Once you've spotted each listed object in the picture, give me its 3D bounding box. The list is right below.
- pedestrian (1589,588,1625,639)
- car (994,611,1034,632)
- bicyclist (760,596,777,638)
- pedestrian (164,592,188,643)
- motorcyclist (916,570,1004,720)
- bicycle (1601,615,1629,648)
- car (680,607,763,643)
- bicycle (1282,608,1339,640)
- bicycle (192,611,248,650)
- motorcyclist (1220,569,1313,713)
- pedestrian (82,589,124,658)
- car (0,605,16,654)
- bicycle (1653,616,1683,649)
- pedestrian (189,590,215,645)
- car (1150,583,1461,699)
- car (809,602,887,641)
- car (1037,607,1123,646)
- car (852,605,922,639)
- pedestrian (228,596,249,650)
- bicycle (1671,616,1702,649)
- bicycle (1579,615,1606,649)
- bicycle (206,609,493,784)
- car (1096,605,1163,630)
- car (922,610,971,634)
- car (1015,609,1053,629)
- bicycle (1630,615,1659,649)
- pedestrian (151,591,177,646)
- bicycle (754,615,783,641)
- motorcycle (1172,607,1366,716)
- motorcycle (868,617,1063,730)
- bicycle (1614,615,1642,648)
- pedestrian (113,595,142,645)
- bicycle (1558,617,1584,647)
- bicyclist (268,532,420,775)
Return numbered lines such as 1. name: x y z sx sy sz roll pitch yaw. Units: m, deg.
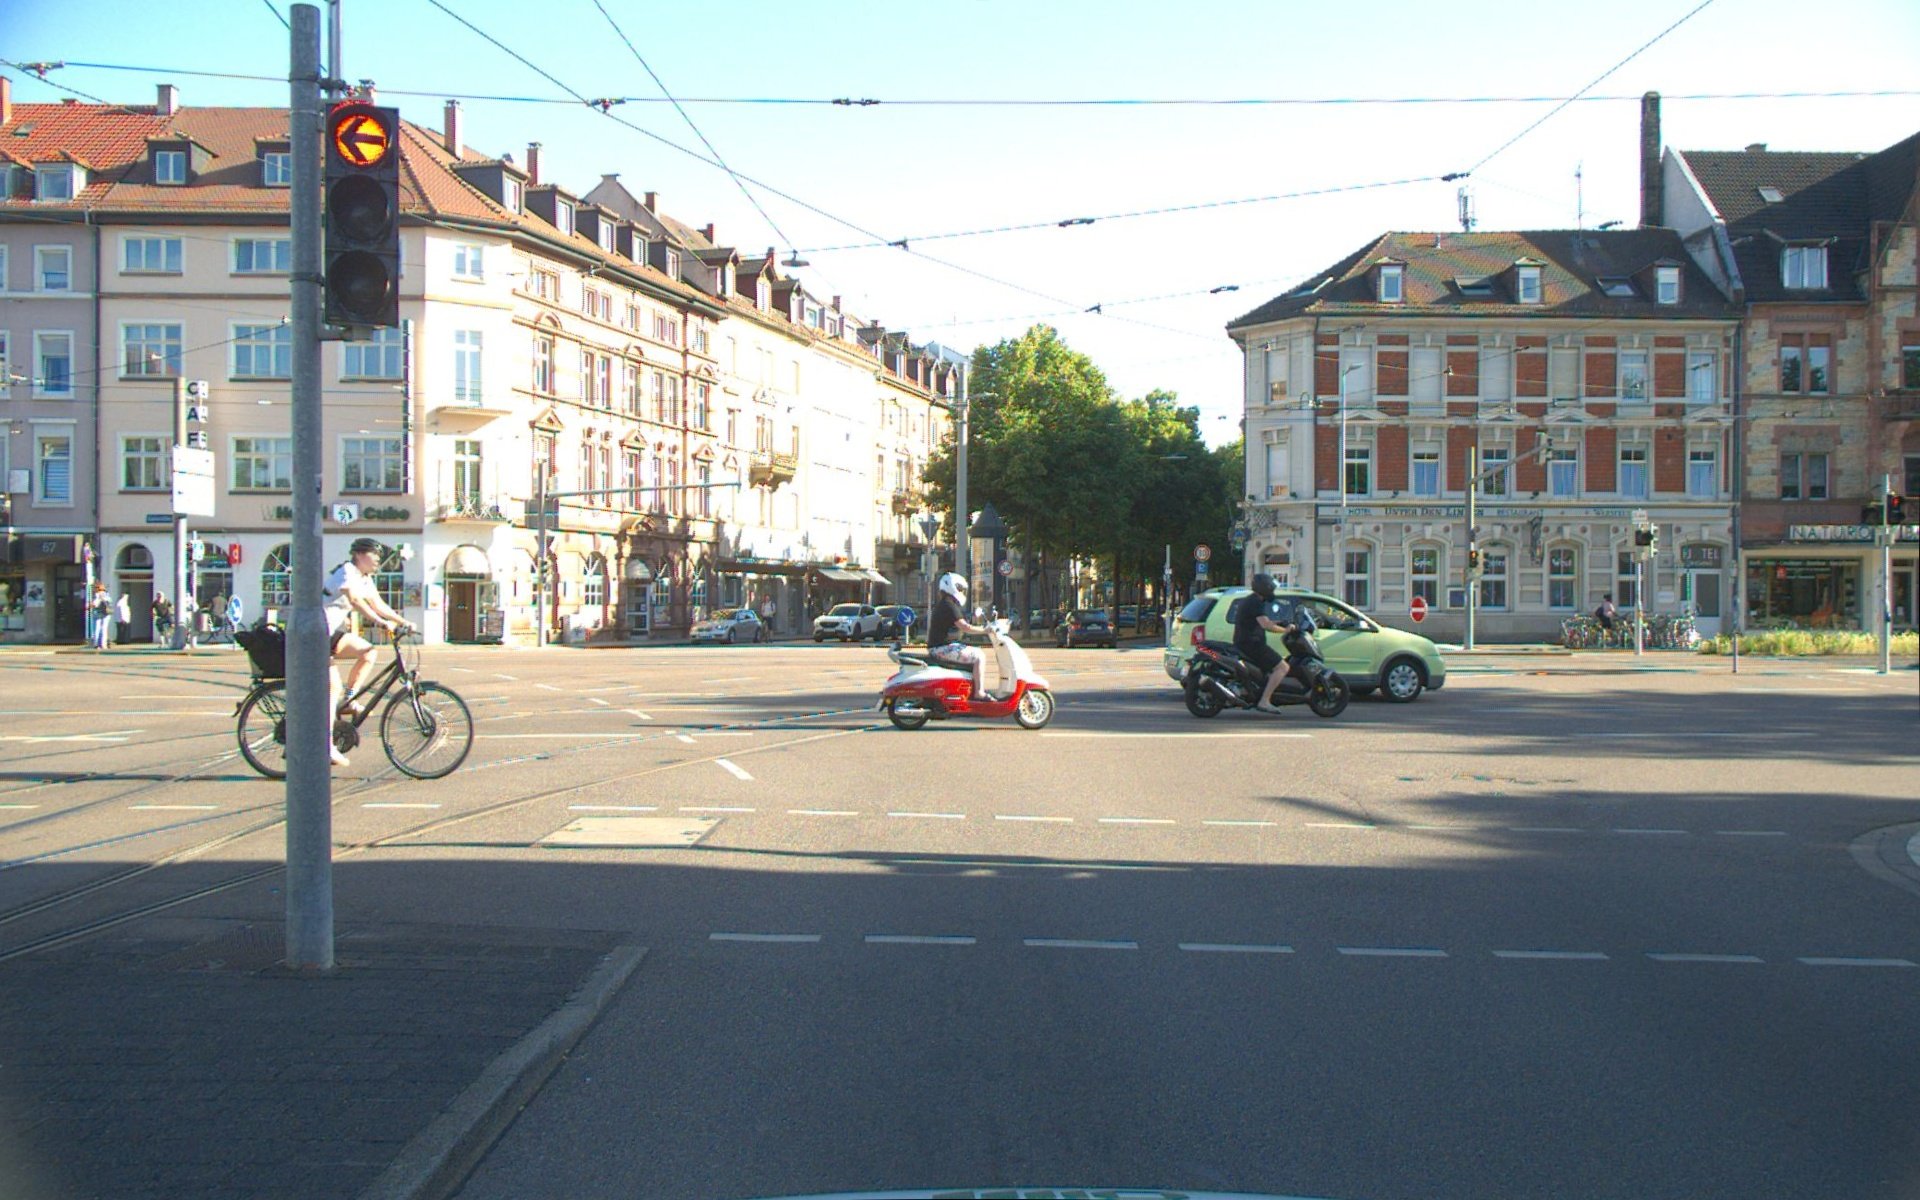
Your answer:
1. pedestrian: 22.421 0.467 57.301 1.013 1.741 0.630 1 -1 8
2. car: 3.824 1.491 116.886 1.951 1.429 4.172 0 0 15
3. bicyclist: -7.541 0.657 65.060 0.479 1.629 0.667 0 0 9
4. pedestrian: -26.378 0.578 55.656 0.731 1.711 0.623 0 0 -26
5. motorcyclist: -0.004 0.460 17.295 0.800 1.534 0.657 0 0 -13
6. bicycle: 21.168 1.005 53.475 0.476 1.038 1.785 0 0 9
7. car: -9.593 0.989 66.873 1.951 1.385 3.821 0 0 15
8. bicycle: 12.182 0.832 57.505 1.911 1.072 0.716 0 0 9
9. bicycle: -25.191 1.022 56.317 1.684 1.299 0.385 0 0 -18
10. motorcyclist: 3.604 0.479 19.522 0.817 1.648 0.814 1 -1 -12
11. pedestrian: -21.353 0.574 41.228 0.725 1.711 0.628 0 0 -1
12. car: -32.127 0.905 52.149 3.651 1.517 1.818 1 0 2
13. bicycle: 22.910 1.035 53.552 0.476 1.038 1.785 0 0 9
14. pedestrian: -23.695 0.552 51.707 0.731 1.711 0.623 0 0 -26
15. car: 4.732 0.533 22.901 3.881 1.525 1.738 0 0 -8
16. car: -4.525 0.851 67.379 1.951 1.542 4.172 0 0 15
17. car: 4.263 0.927 59.310 1.690 1.323 4.053 0 0 -18
18. car: -3.220 0.957 73.571 1.951 1.429 4.172 0 0 15
19. pedestrian: -17.207 0.547 39.446 0.358 1.275 0.449 0 0 -12
20. bicycle: 23.595 1.048 53.734 0.476 1.038 1.785 0 0 9
21. bicycle: 20.479 1.026 53.567 0.476 1.038 1.785 0 0 9
22. bicycle: -4.507 0.691 12.335 1.886 1.244 0.741 0 0 -8
23. car: 10.257 1.044 99.816 3.902 1.480 1.683 0 0 10
24. car: -0.811 1.324 102.049 1.951 1.429 4.172 0 0 15
25. car: 5.483 1.385 122.632 1.951 1.429 4.172 0 0 15
26. bicycle: 22.116 1.021 53.472 0.476 1.038 1.785 0 0 9
27. pedestrian: -24.947 0.587 51.828 0.731 1.711 0.623 0 0 -26
28. bicycle: -7.550 1.102 65.160 0.641 1.018 1.666 1 0 11
29. motorcycle: 3.635 0.705 19.486 2.166 1.250 0.693 0 0 -12
30. motorcycle: 0.055 0.756 17.280 1.989 1.138 0.503 0 0 -12
31. bicycle: 21.617 1.013 53.543 0.476 1.038 1.785 0 0 9
32. pedestrian: -28.199 0.672 56.046 0.727 1.711 0.626 0 0 -12
33. bicycle: 19.809 1.019 53.644 0.476 0.930 1.785 0 0 9
34. bicyclist: -4.571 0.382 12.325 0.921 1.743 0.732 0 0 -8
